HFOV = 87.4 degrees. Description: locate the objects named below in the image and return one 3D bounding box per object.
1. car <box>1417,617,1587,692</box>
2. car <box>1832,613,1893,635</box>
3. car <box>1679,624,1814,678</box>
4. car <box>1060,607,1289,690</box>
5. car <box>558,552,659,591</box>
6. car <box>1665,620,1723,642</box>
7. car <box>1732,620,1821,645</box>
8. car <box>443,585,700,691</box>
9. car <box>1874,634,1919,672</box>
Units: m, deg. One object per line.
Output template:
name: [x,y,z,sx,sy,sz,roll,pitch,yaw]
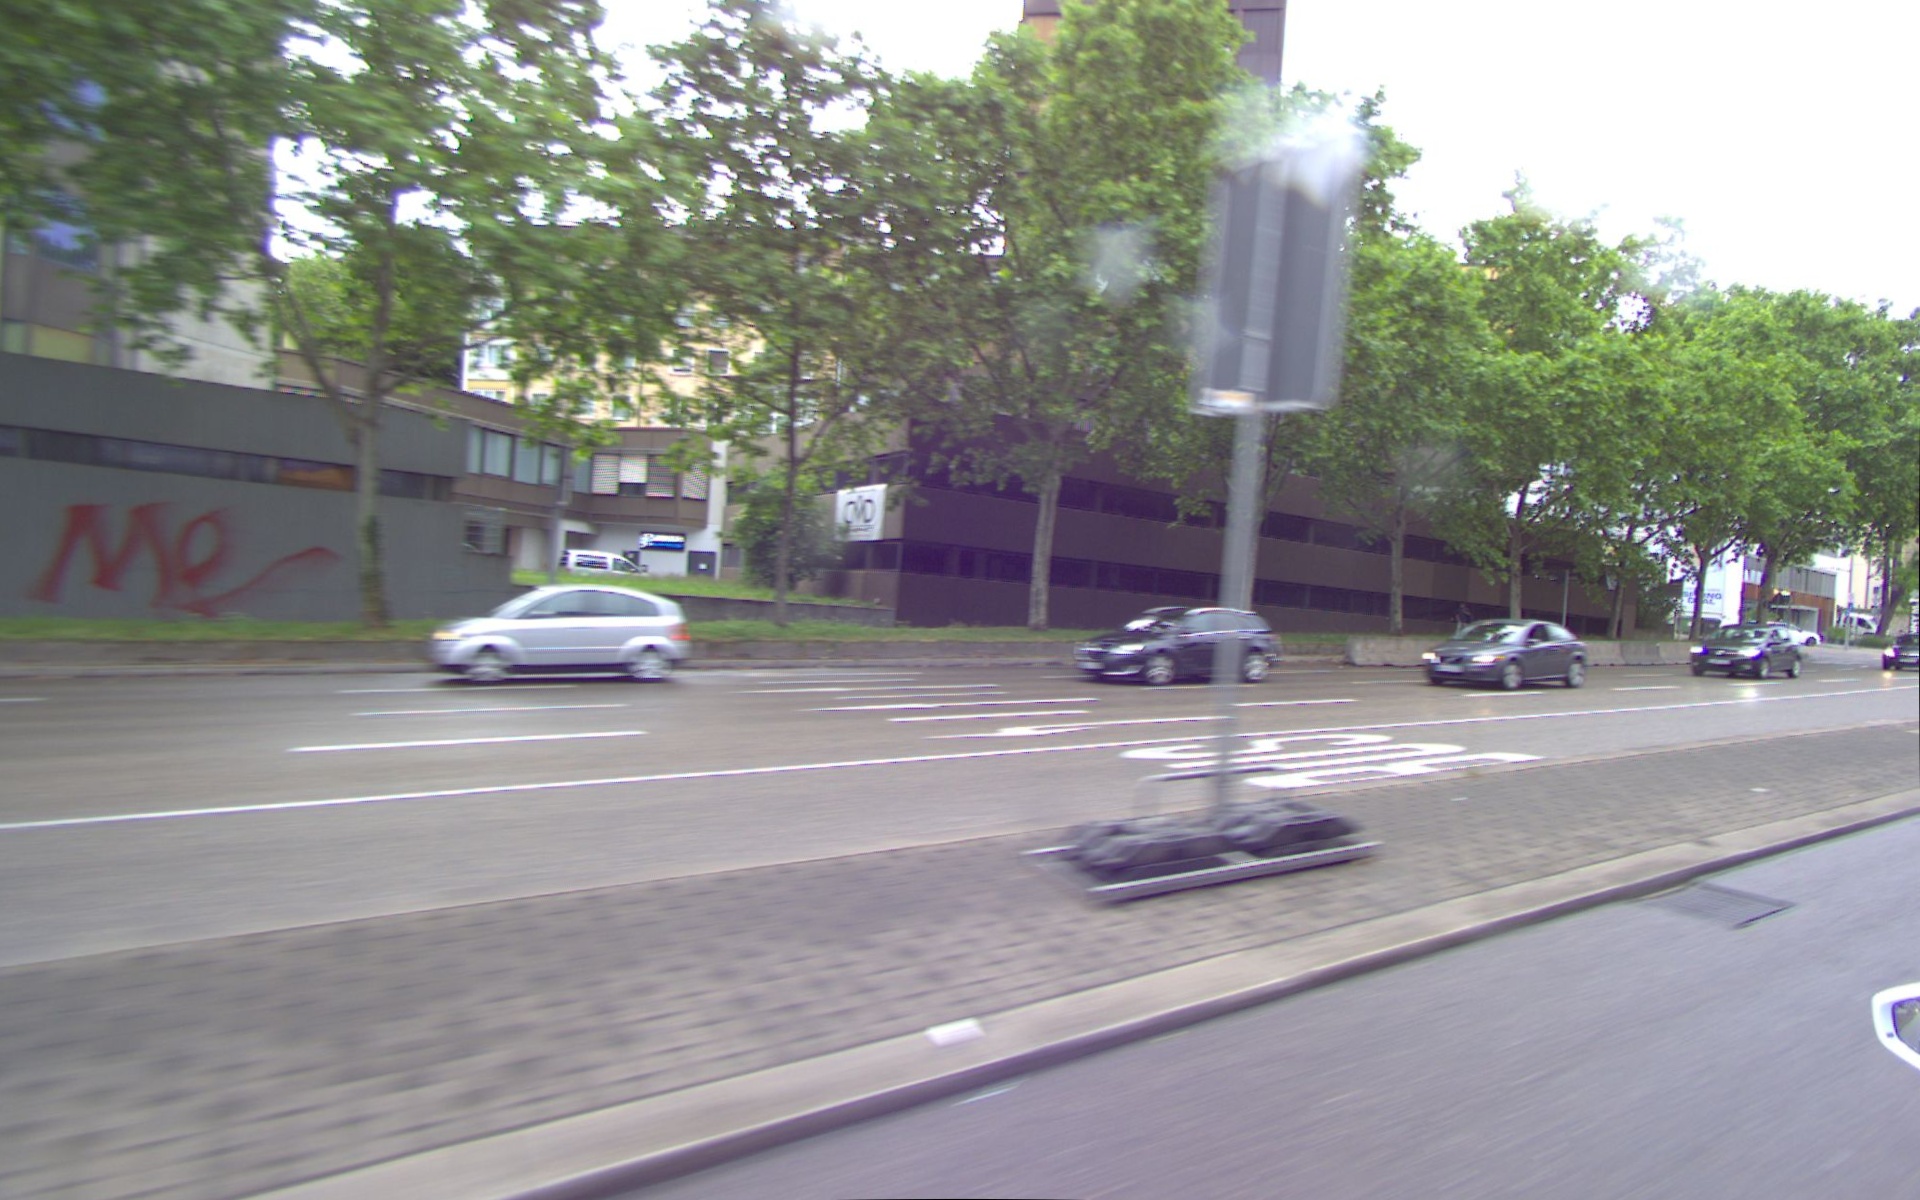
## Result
car: [11.619,1.128,21.441,3.963,1.429,1.674,2,0,-37]
car: [77.645,2.033,86.435,1.808,1.723,3.604,3,-2,-35]
car: [22.925,1.488,29.258,3.955,1.421,1.810,3,-2,-31]
car: [4.347,0.941,20.067,4.678,1.466,1.733,2,0,-35]
car: [-14.846,-1.202,42.552,3.723,1.511,1.585,1,2,-39]
car: [53.805,2.272,73.641,3.127,1.445,1.279,2,-1,13]
car: [56.554,2.258,69.637,4.485,1.530,1.827,2,-1,6]
car: [-6.249,0.572,16.210,3.709,1.511,1.591,1,1,-29]
car: [38.419,2.164,40.081,3.955,1.421,1.810,3,-2,-31]
